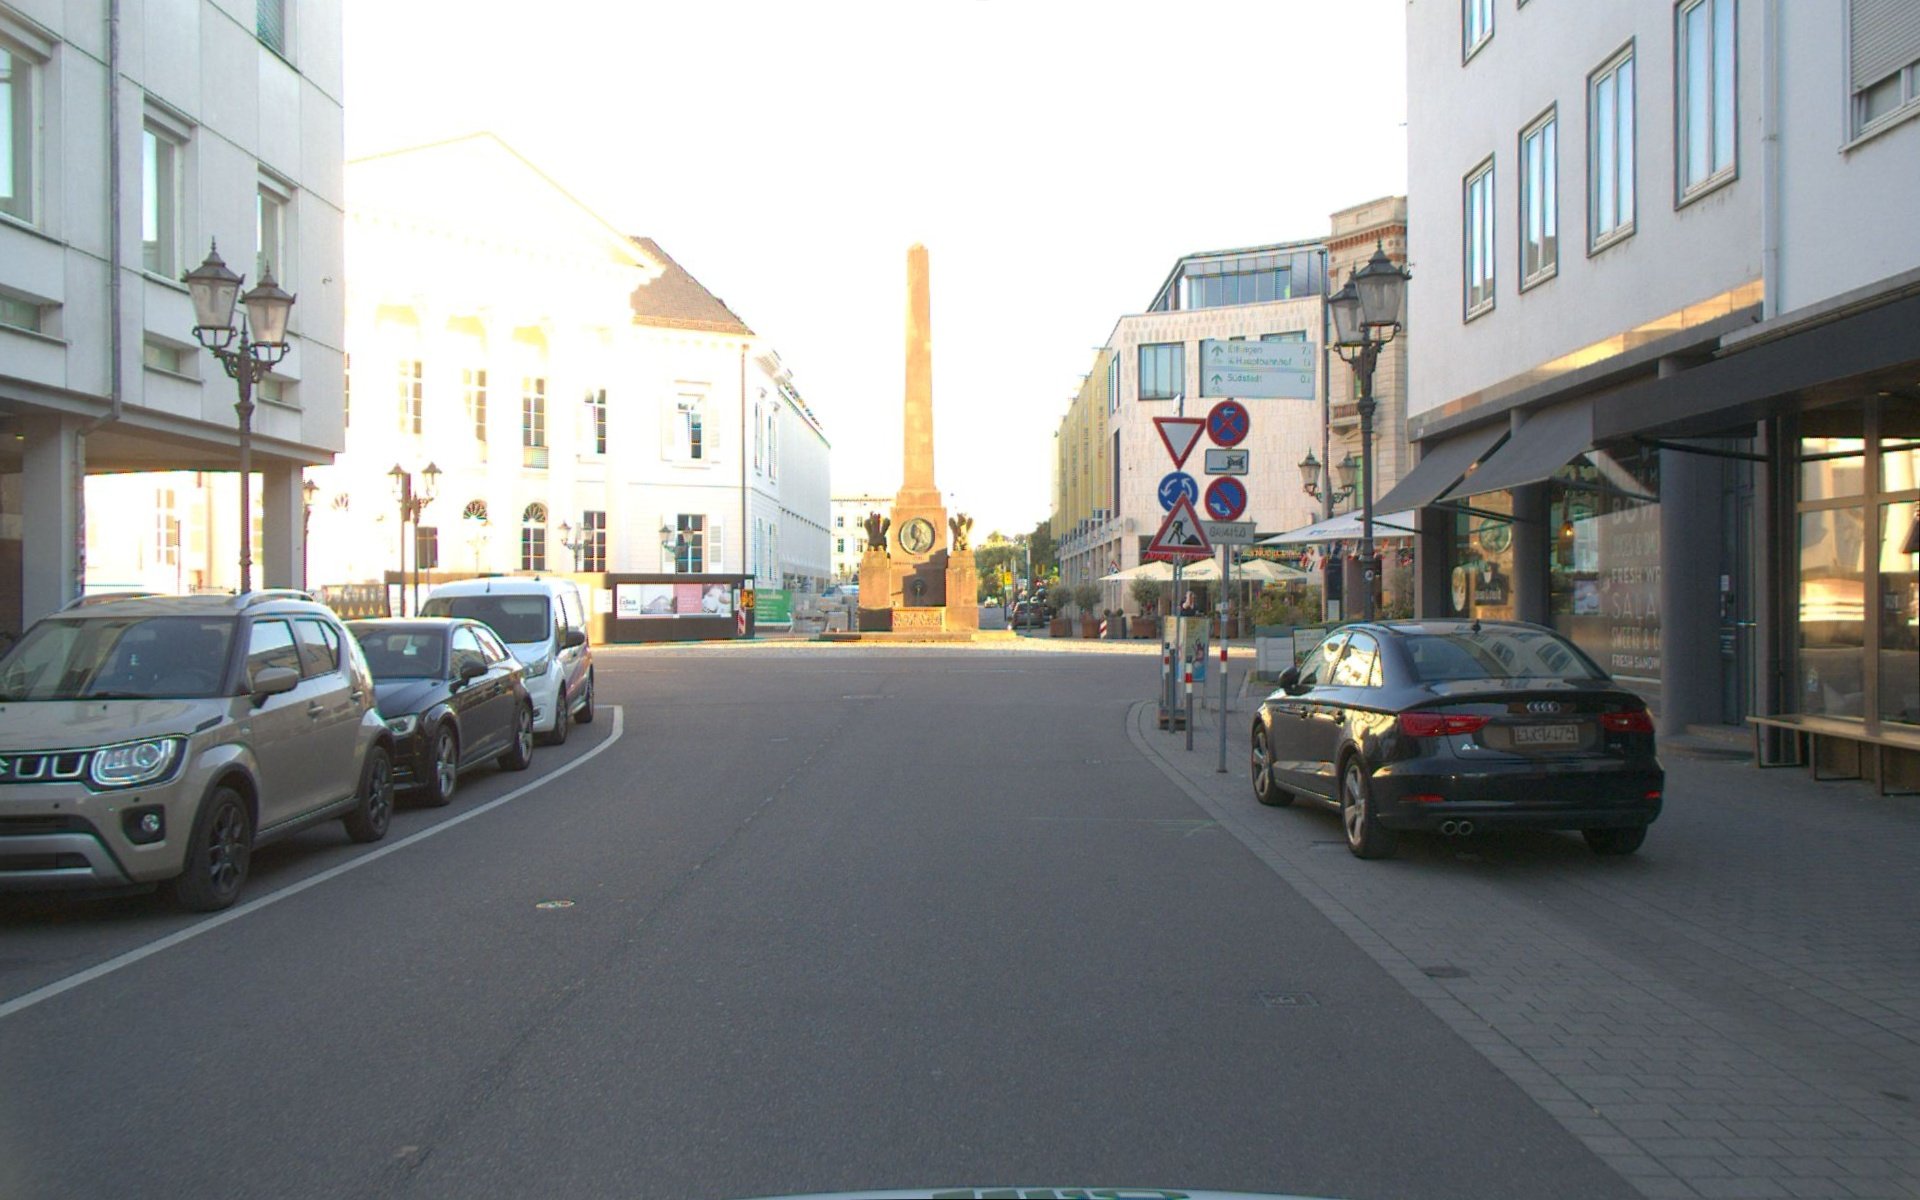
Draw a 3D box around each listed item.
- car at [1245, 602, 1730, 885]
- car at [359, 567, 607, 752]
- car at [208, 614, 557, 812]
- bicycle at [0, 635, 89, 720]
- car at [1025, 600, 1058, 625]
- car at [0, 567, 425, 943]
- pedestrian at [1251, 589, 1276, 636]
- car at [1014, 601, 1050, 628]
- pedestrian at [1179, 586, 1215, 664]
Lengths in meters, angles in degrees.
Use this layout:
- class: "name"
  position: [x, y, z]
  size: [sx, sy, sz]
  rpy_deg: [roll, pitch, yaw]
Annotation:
- class: "car"
  position: [3.219, 0.777, 11.021]
  size: [1.765, 1.489, 4.115]
  rpy_deg: [-1, 0, -2]
- class: "car"
  position: [-5.300, 0.582, 19.017]
  size: [1.955, 1.847, 4.777]
  rpy_deg: [0, 0, -7]
- class: "car"
  position: [-4.670, 0.833, 14.015]
  size: [1.644, 1.377, 4.103]
  rpy_deg: [0, 0, -2]
- class: "bicycle"
  position: [-12.233, 0.976, 21.392]
  size: [0.718, 1.001, 2.335]
  rpy_deg: [0, 0, -1]
- class: "car"
  position: [4.967, 0.734, 101.012]
  size: [1.952, 1.489, 4.001]
  rpy_deg: [0, 0, 2]
- class: "car"
  position: [-4.629, 0.709, 9.490]
  size: [1.954, 1.691, 3.998]
  rpy_deg: [-1, 0, -3]
- class: "pedestrian"
  position: [11.603, 0.476, 63.313]
  size: [0.885, 1.759, 0.850]
  rpy_deg: [-1, 0, 9]
- class: "car"
  position: [3.985, 0.786, 92.532]
  size: [1.952, 1.489, 4.001]
  rpy_deg: [0, 0, 2]
- class: "pedestrian"
  position: [5.166, 0.548, 36.095]
  size: [0.676, 1.676, 0.695]
  rpy_deg: [-1, 0, 0]
